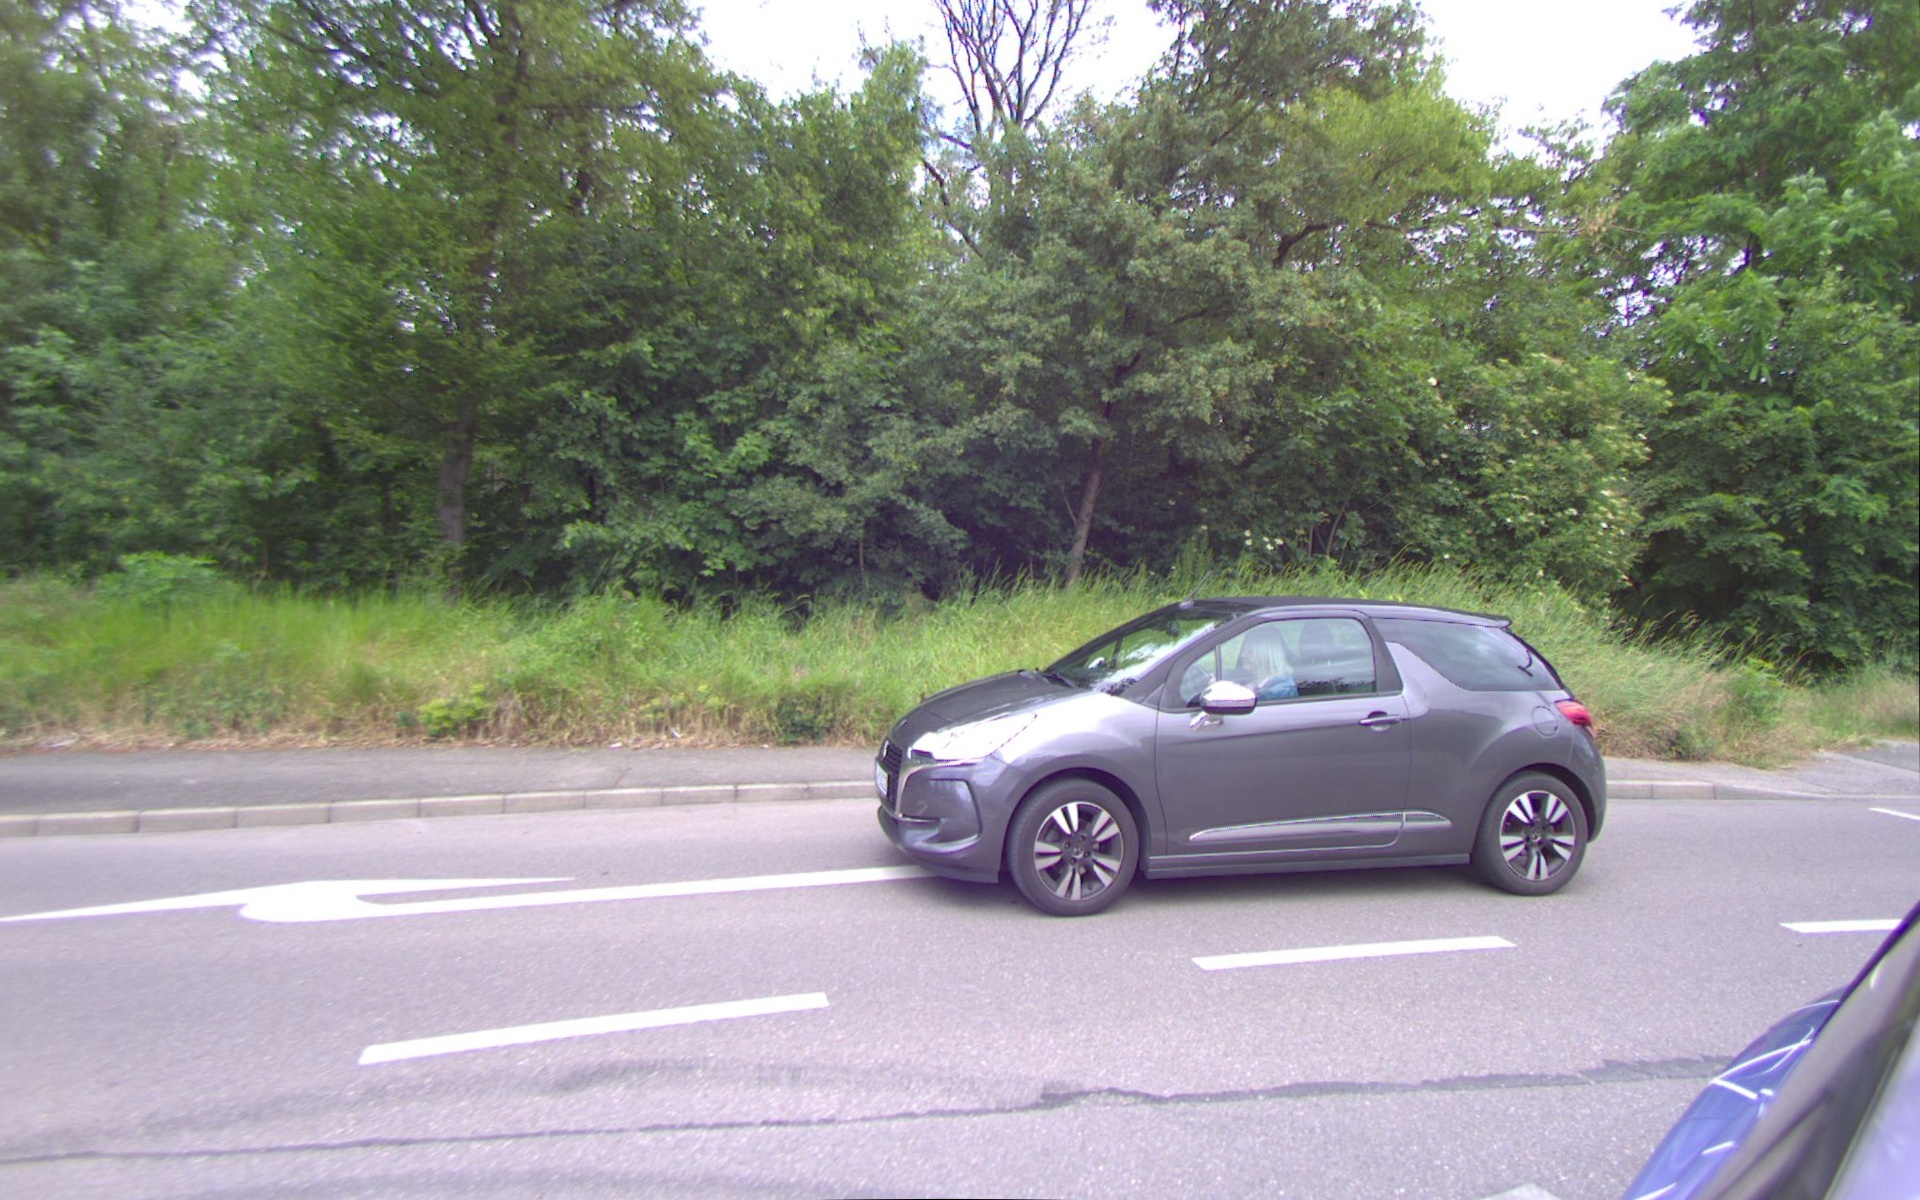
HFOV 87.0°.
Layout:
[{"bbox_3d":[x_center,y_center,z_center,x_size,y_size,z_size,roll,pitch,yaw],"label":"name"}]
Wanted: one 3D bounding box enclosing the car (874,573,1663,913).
[{"bbox_3d":[1.512,0.638,5.597,3.775,1.476,1.734,1,0,-11],"label":"car"}]
